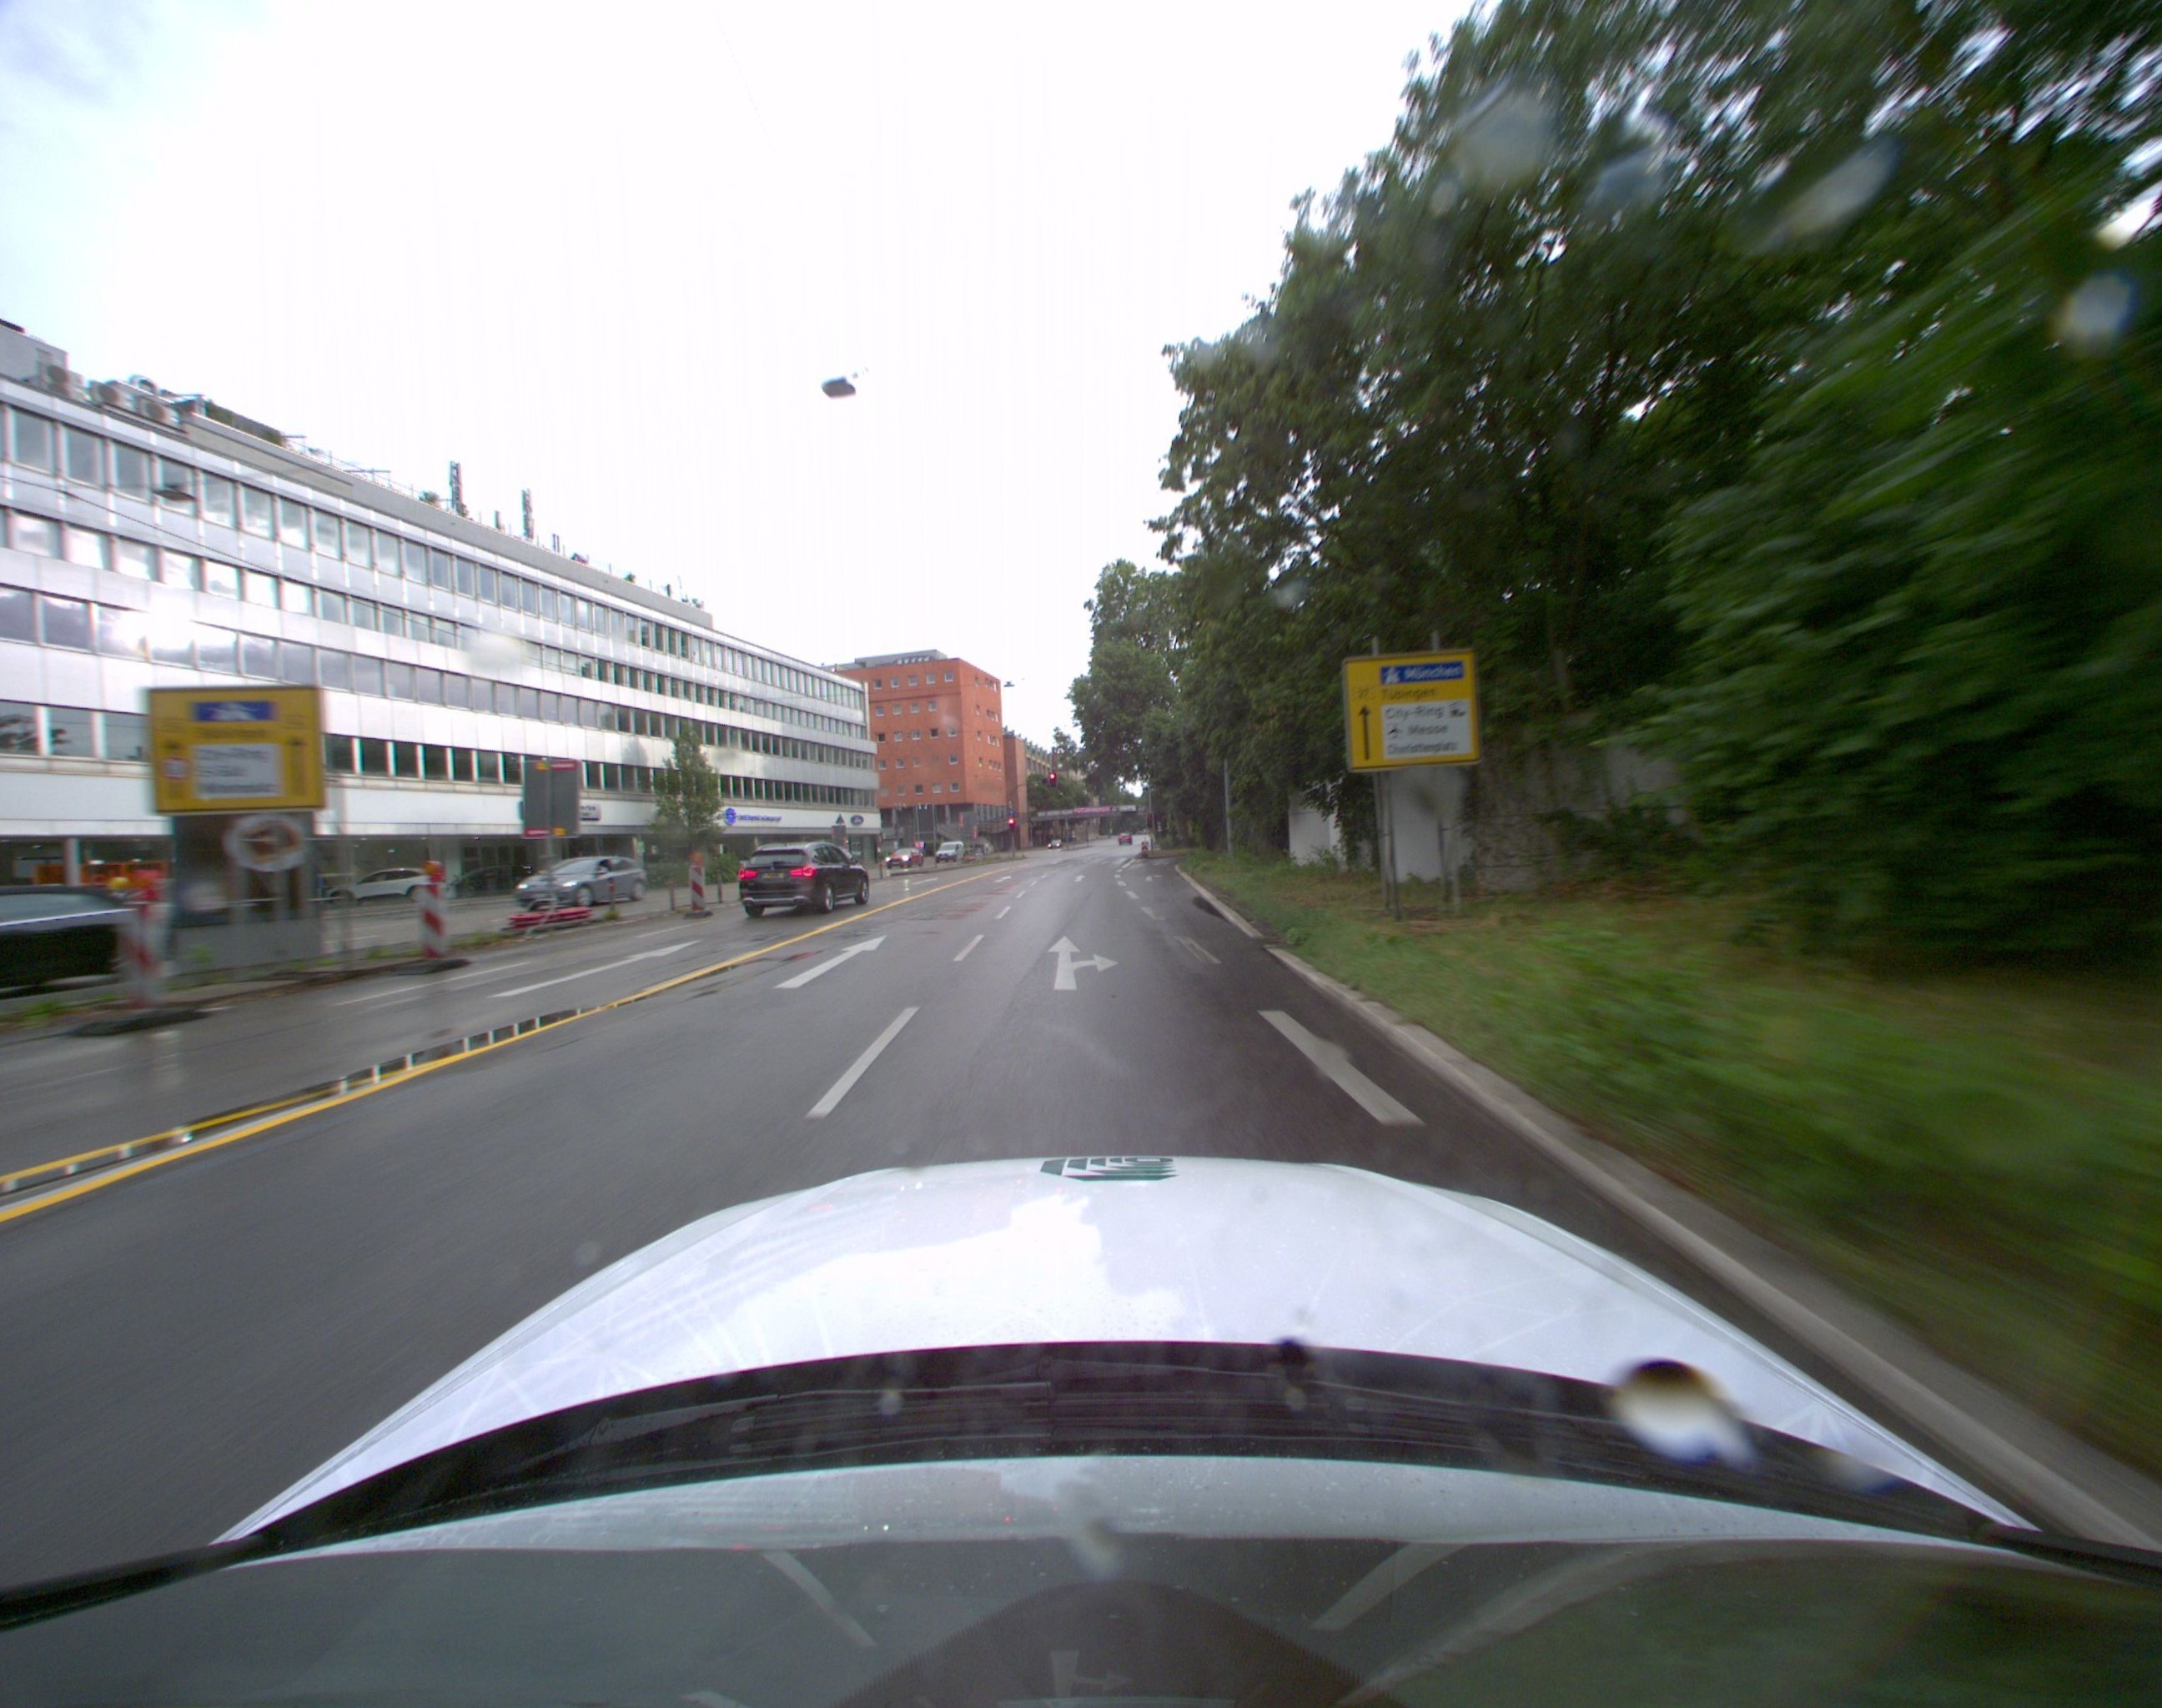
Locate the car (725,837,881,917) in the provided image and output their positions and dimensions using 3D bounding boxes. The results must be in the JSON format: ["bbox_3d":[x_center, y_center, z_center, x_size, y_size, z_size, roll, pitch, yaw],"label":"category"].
[{"bbox_3d":[-6.521,0.453,19.783,1.939,1.597,4.675,-1,2,3],"label":"car"}]

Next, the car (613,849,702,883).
[{"bbox_3d":[-28.762,0.810,55.439,5.013,1.897,1.977,-5,1,-38],"label":"car"}]

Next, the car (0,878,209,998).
[{"bbox_3d":[-13.873,1.121,10.019,1.683,1.354,4.116,-4,1,2],"label":"car"}]

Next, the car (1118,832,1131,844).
[{"bbox_3d":[7.092,-2.614,132.486,2.112,1.734,4.202,-1,2,3],"label":"car"}]

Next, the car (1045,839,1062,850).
[{"bbox_3d":[-4.238,-1.462,126.929,1.984,1.519,4.007,-3,1,6],"label":"car"}]

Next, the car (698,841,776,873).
[{"bbox_3d":[-26.235,0.235,62.129,5.222,2.011,1.981,-5,1,-30],"label":"car"}]

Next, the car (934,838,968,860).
[{"bbox_3d":[-11.536,-0.492,72.414,1.725,1.785,4.309,-4,1,6],"label":"car"}]

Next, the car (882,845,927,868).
[{"bbox_3d":[-13.118,0.173,60.840,1.820,1.502,4.382,-4,1,7],"label":"car"}]

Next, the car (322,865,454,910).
[{"bbox_3d":[-32.591,1.543,38.487,4.401,1.651,1.836,-5,1,-31],"label":"car"}]

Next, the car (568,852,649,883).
[{"bbox_3d":[-29.284,0.853,50.637,4.005,1.574,1.984,-5,1,-24],"label":"car"}]

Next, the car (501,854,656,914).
[{"bbox_3d":[-15.658,0.872,25.676,1.799,1.558,4.309,-3,1,6],"label":"car"}]
